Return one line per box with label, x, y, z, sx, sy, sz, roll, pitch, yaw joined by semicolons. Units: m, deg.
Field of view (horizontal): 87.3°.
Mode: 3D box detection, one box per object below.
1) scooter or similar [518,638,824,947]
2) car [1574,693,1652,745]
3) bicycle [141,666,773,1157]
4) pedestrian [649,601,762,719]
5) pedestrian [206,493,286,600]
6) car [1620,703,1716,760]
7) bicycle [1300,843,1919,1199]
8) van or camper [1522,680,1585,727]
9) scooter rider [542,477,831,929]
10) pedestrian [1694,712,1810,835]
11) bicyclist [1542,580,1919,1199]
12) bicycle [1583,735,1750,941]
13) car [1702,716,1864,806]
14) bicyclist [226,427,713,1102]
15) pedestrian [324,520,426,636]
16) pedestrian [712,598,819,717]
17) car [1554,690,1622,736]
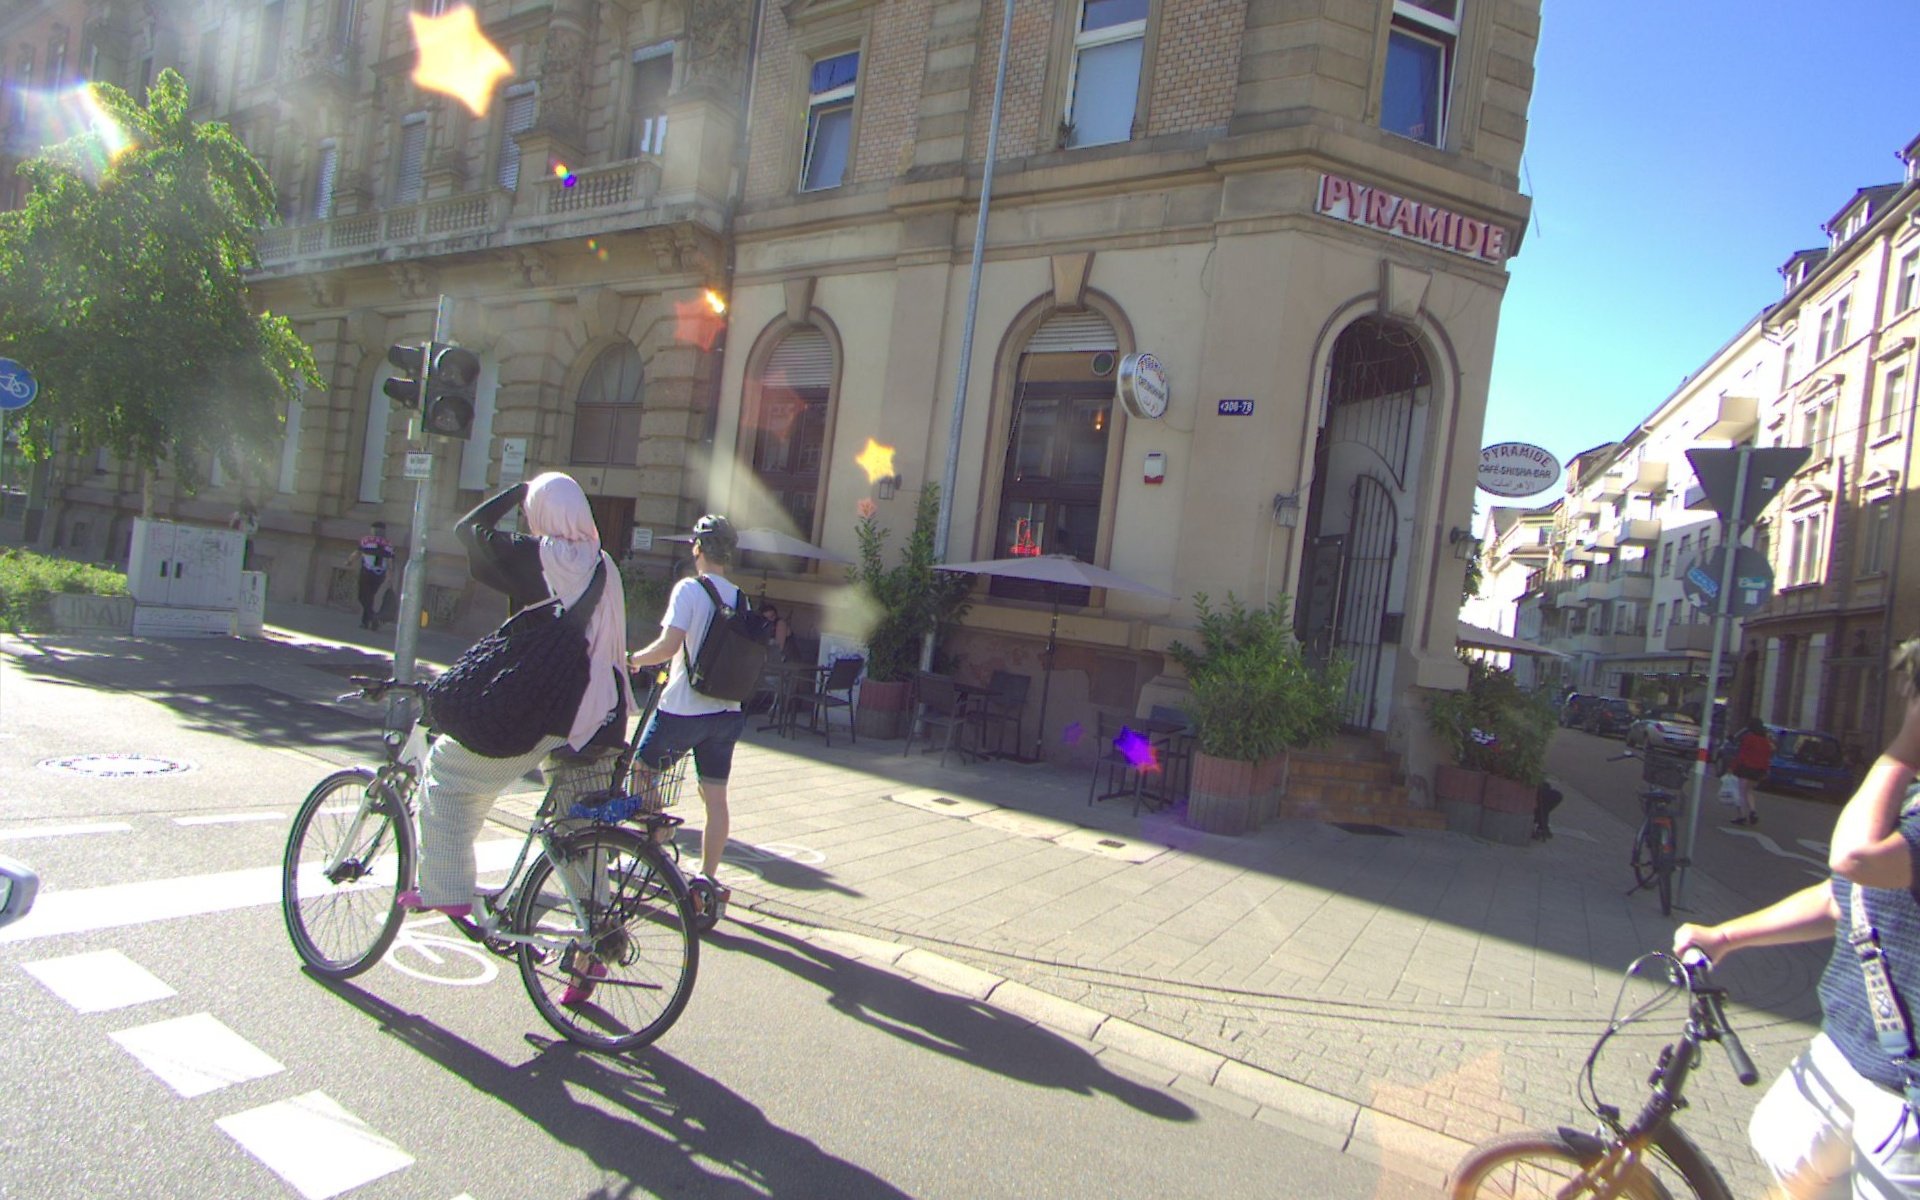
scooter or similar;-1.368;0.850;4.786;1.130;1.172;0.647;7;-1;26
car;23.864;4.307;36.881;1.599;1.424;3.439;9;1;22
bicycle;-1.694;0.874;3.358;1.917;1.018;0.726;7;-1;24
pedestrian;-2.861;0.674;11.320;0.867;1.197;0.718;6;0;31
pedestrian;-14.010;-1.051;19.733;1.081;1.945;0.889;7;2;37
car;21.464;3.957;30.607;1.600;1.337;3.389;7;-1;24
bicycle;1.812;1.280;2.111;1.920;1.018;0.829;7;-1;32
van or camper;30.216;5.222;51.347;1.850;1.867;4.545;9;1;22
scooter rider;-1.284;0.442;4.775;0.882;1.888;0.663;7;-1;27
pedestrian;11.638;2.523;14.821;0.891;1.592;0.835;7;-1;4
bicyclist;1.866;0.921;2.109;0.972;1.747;0.853;7;-1;32
bicycle;5.776;1.823;8.179;0.804;1.247;2.211;11;2;38
car;18.391;3.532;22.689;1.587;1.428;3.703;7;-1;21
bicyclist;-1.601;0.450;3.346;1.071;1.839;0.726;7;-1;23
pedestrian;-9.350;-0.348;16.089;1.097;1.714;0.968;7;2;38
pedestrian;-2.336;0.692;12.103;0.873;1.298;0.726;6;0;31
car;25.892;4.631;41.566;1.599;1.424;3.439;9;1;22
